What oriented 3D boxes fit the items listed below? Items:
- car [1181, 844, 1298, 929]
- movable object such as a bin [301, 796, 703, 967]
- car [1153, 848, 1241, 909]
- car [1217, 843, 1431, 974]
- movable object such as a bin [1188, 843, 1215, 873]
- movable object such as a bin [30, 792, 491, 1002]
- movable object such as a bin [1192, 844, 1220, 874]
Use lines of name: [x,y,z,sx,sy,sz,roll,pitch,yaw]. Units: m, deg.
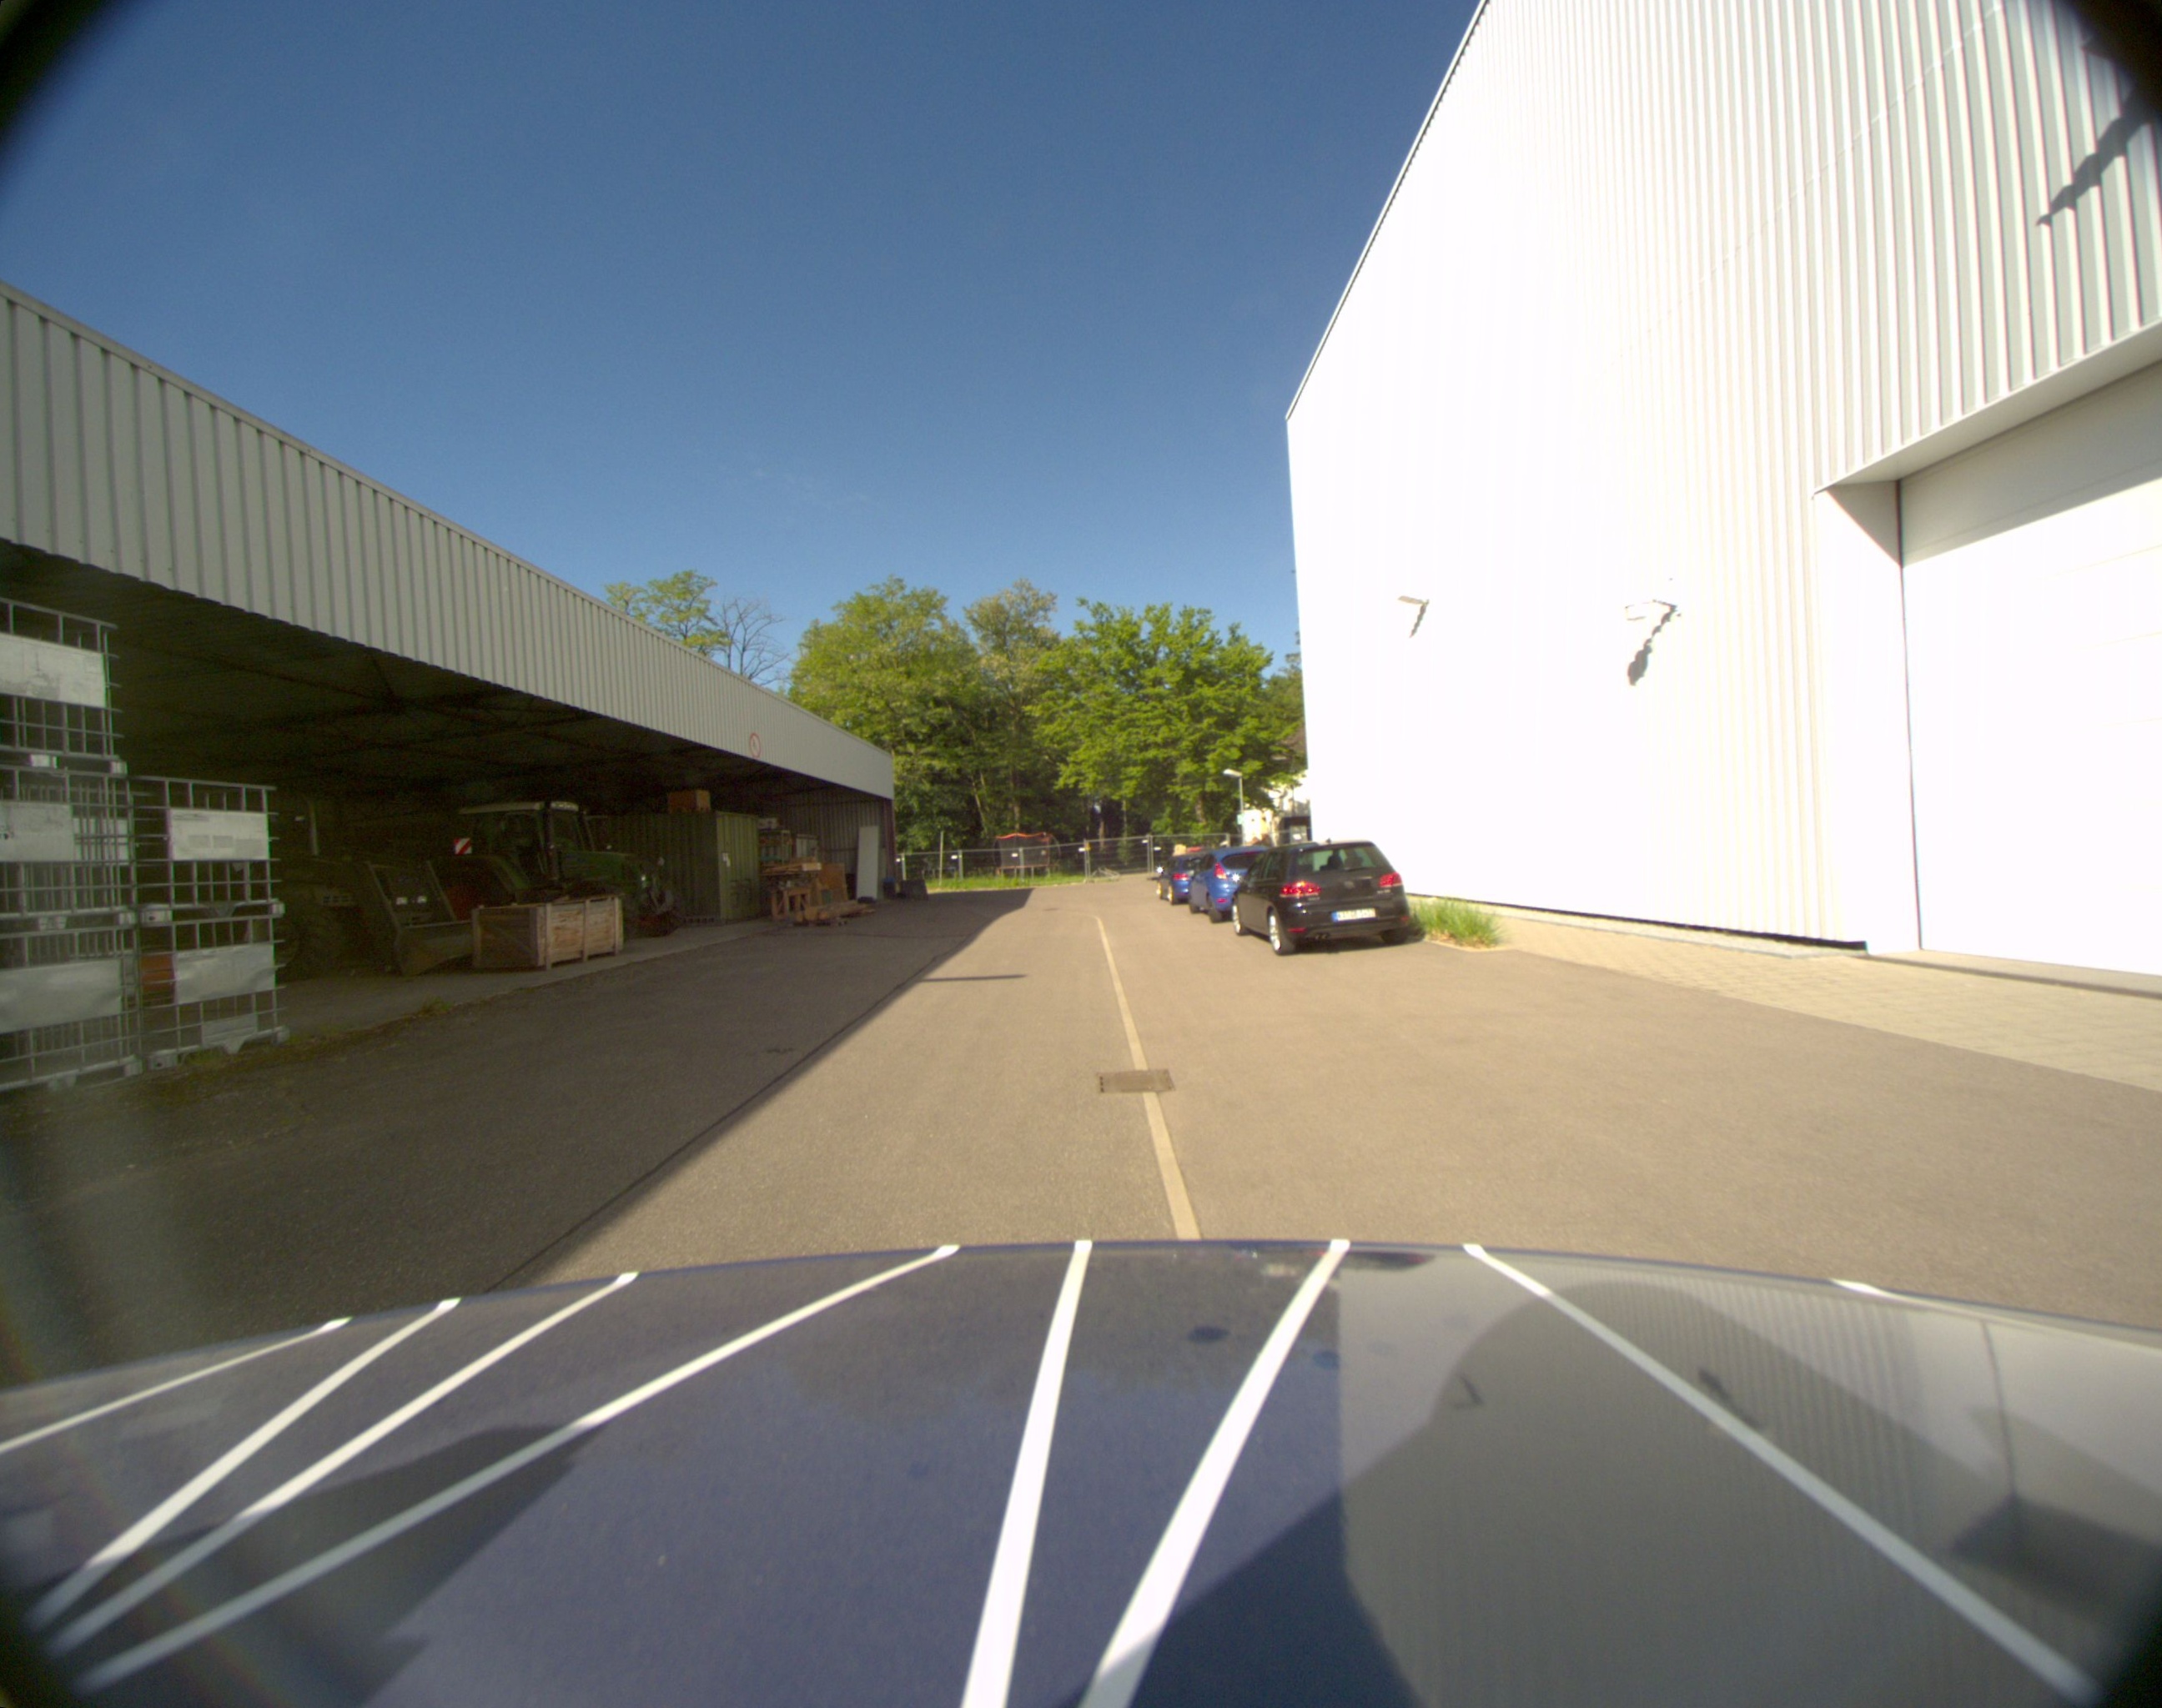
car: [3.231,0.628,16.114,1.552,1.480,3.522,-5,0,-1]
movable object such as a bin: [-11.377,0.509,15.406,5.848,2.908,2.820,-2,0,1]
car: [3.195,0.658,21.625,1.716,1.440,3.798,-5,0,-1]
car: [3.358,0.676,11.453,1.761,1.437,4.315,-6,0,1]
movable object such as a bin: [6.145,0.221,38.728,1.141,1.469,1.280,-2,0,1]
movable object such as a bin: [-12.734,0.625,12.137,4.537,2.814,2.497,-2,0,1]
movable object such as a bin: [6.124,0.224,37.364,1.141,1.426,1.289,-2,0,1]
